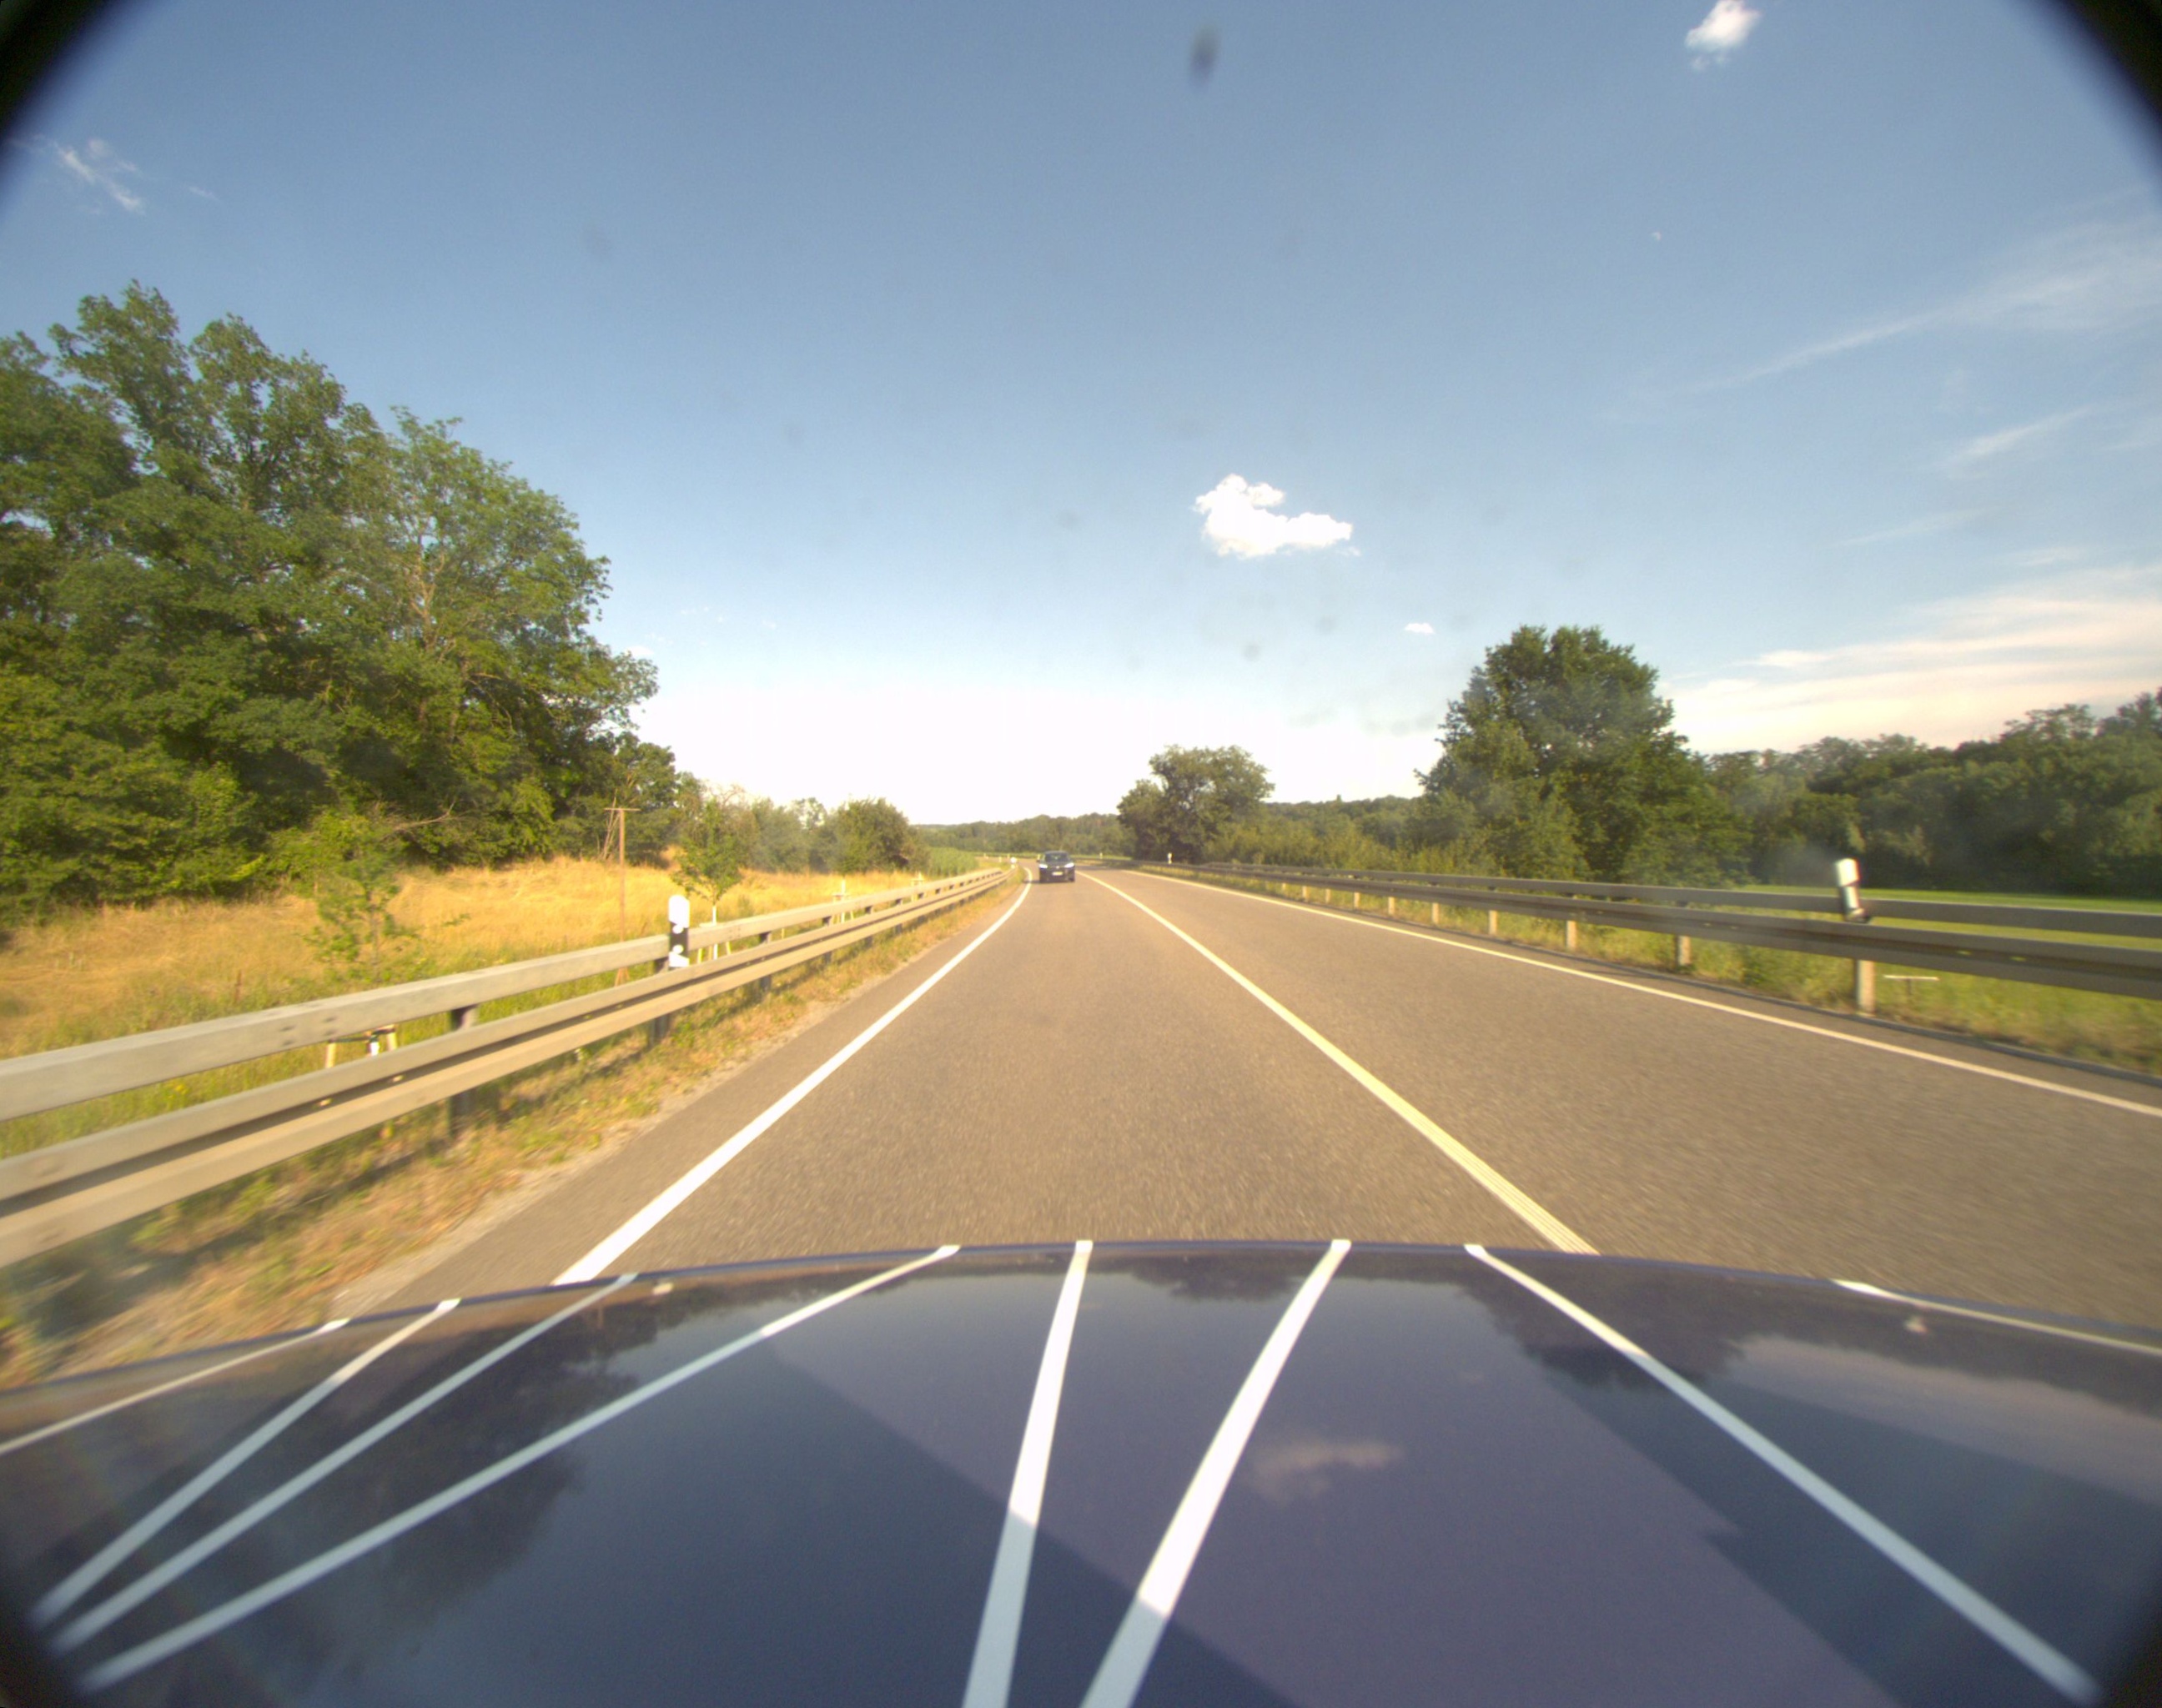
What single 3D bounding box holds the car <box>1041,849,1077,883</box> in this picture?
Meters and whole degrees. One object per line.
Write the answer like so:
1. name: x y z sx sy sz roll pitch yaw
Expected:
1. car: -1.151 0.583 40.285 1.751 1.645 4.305 -2 1 -1
